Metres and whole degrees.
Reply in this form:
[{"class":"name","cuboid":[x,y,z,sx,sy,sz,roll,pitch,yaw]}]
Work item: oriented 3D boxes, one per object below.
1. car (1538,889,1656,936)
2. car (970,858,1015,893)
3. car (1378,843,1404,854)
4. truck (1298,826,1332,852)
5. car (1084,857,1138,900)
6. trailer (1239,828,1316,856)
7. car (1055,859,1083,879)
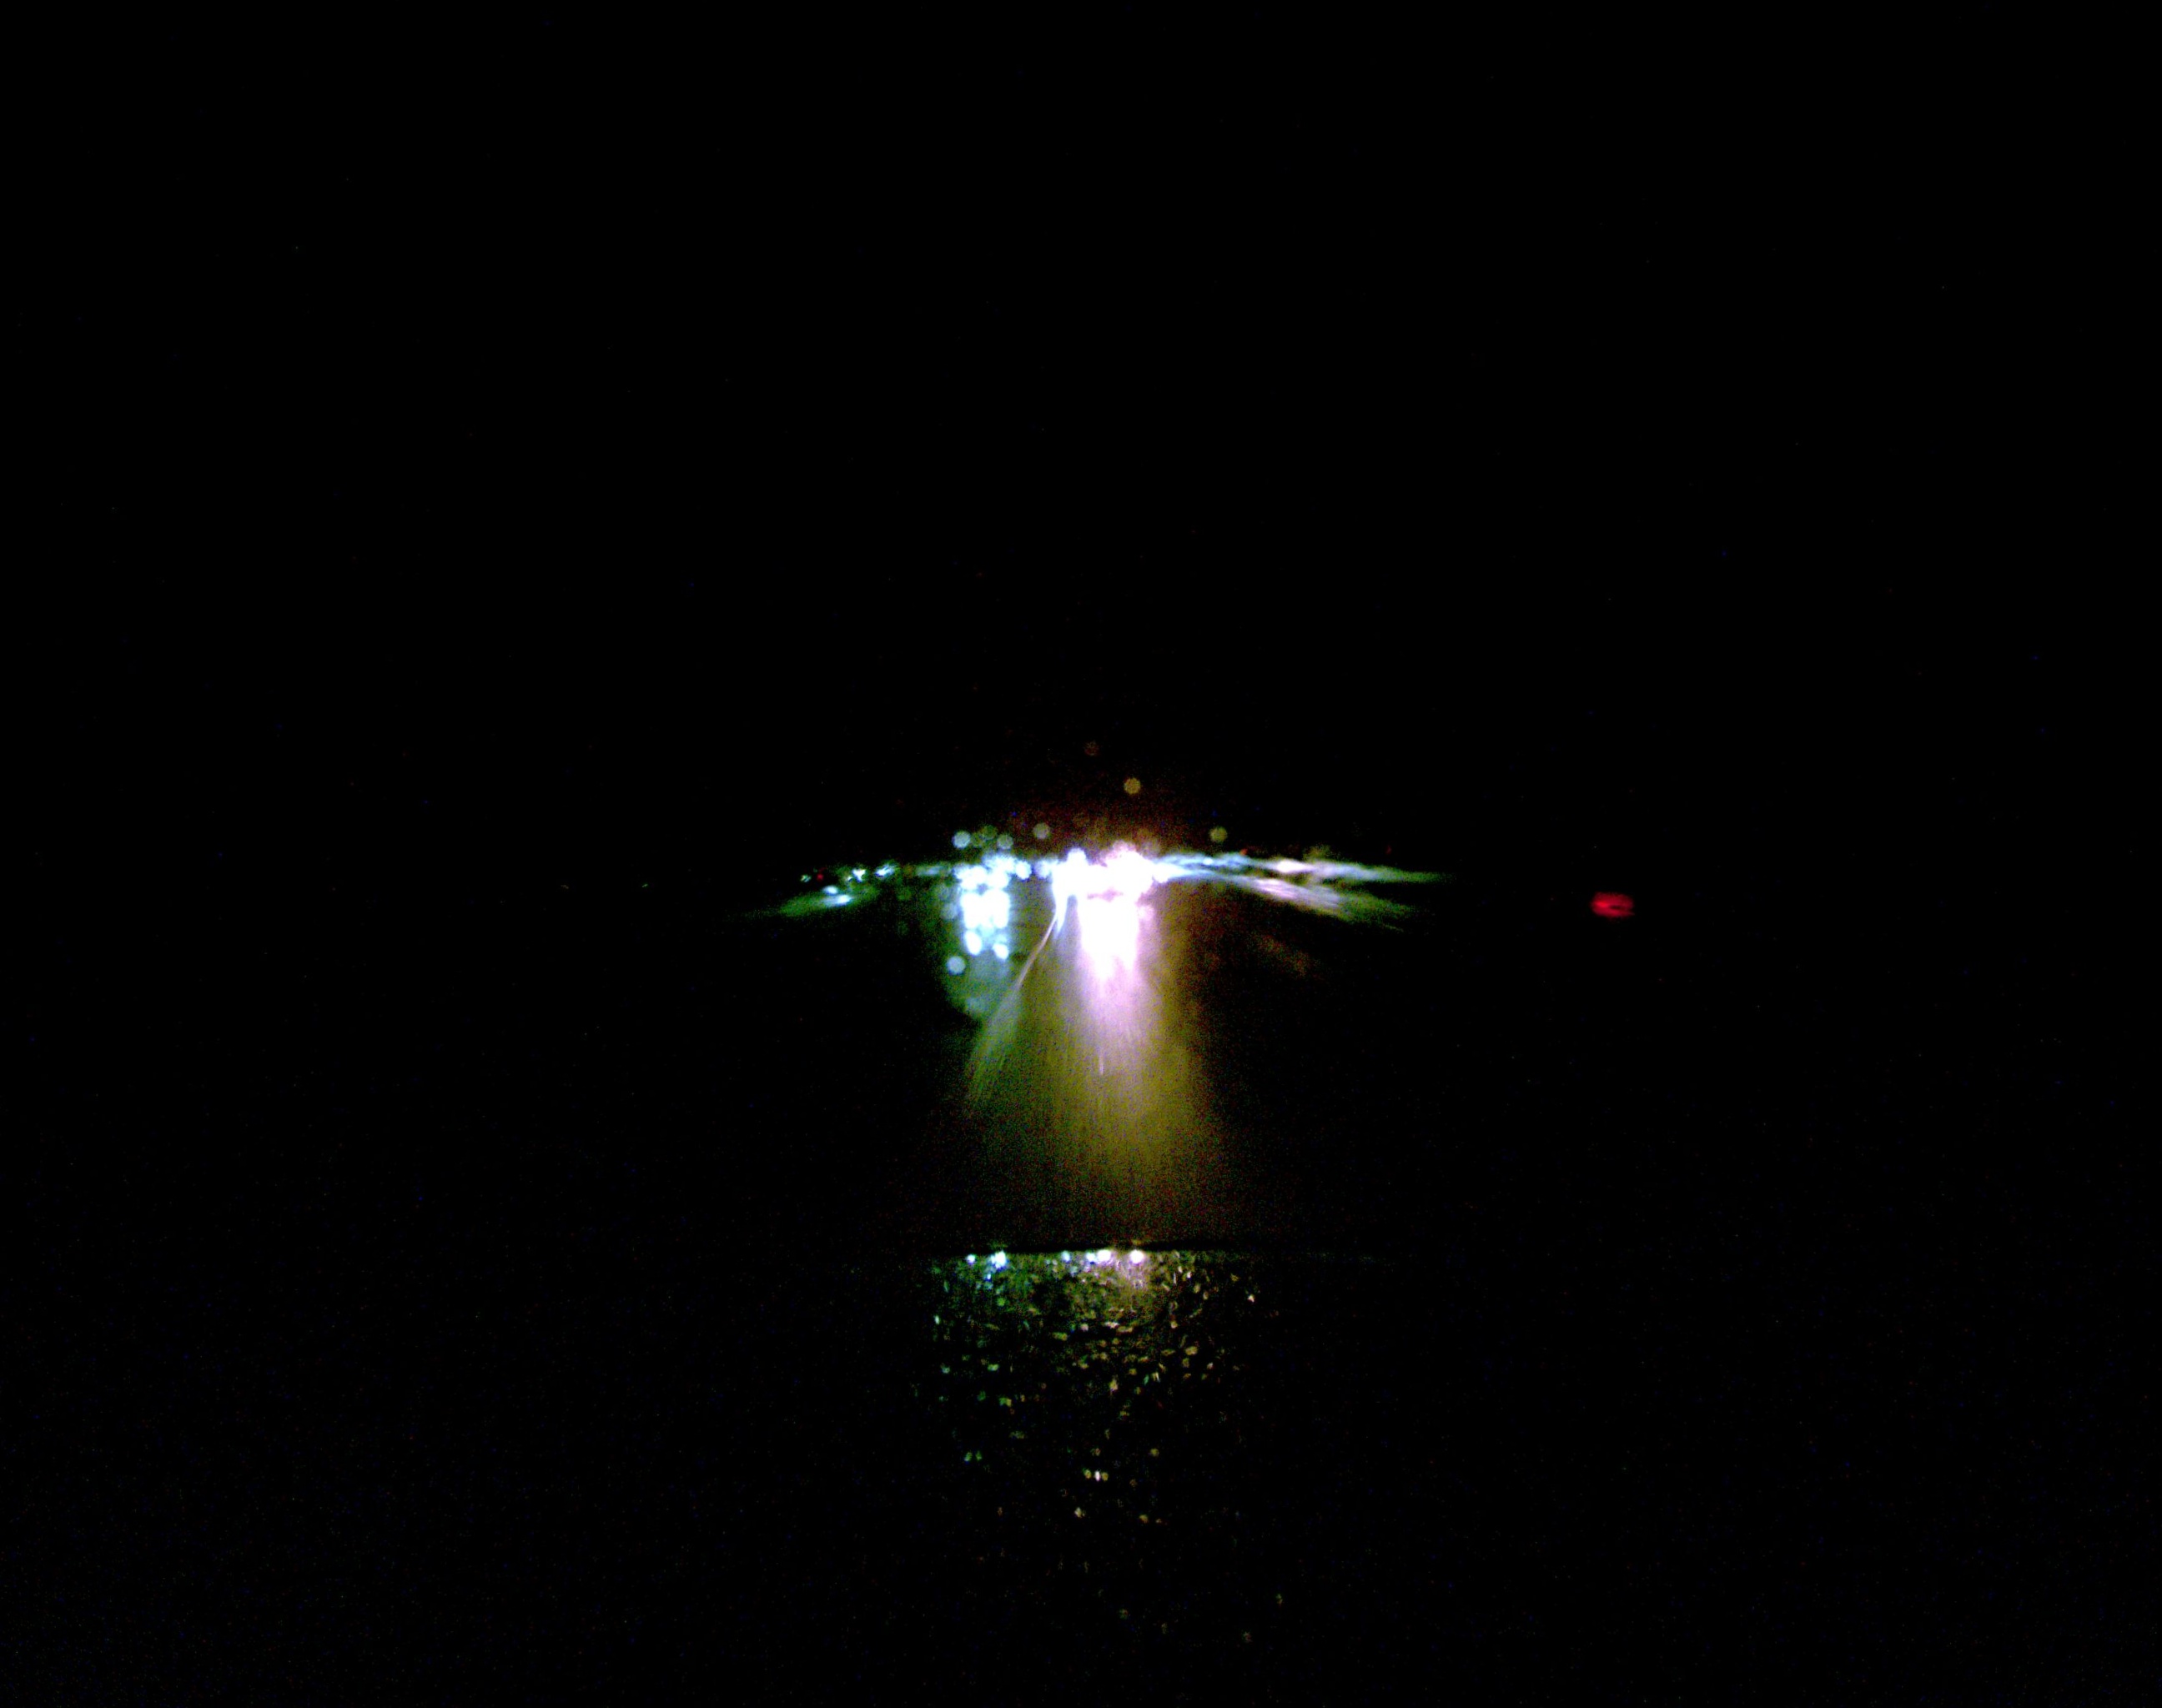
[{"class":"car","cuboid":[21.352,2.379,31.659,1.764,1.482,4.040,-1,2,-10]},{"class":"car","cuboid":[-4.909,1.162,42.495,1.740,1.674,4.120,-5,0,2]},{"class":"car","cuboid":[43.784,-0.818,107.265,3.936,1.390,1.727,-2,2,-40]},{"class":"truck","cuboid":[43.706,-2.754,141.906,5.551,4.312,2.543,-4,2,24]},{"class":"car","cuboid":[1.204,0.881,29.049,1.686,1.442,3.644,-3,0,7]},{"class":"trailer","cuboid":[37.383,-2.320,144.674,13.679,4.312,2.543,-4,2,24]},{"class":"car","cuboid":[-0.897,1.062,54.766,1.761,1.304,4.084,-3,0,-4]}]
